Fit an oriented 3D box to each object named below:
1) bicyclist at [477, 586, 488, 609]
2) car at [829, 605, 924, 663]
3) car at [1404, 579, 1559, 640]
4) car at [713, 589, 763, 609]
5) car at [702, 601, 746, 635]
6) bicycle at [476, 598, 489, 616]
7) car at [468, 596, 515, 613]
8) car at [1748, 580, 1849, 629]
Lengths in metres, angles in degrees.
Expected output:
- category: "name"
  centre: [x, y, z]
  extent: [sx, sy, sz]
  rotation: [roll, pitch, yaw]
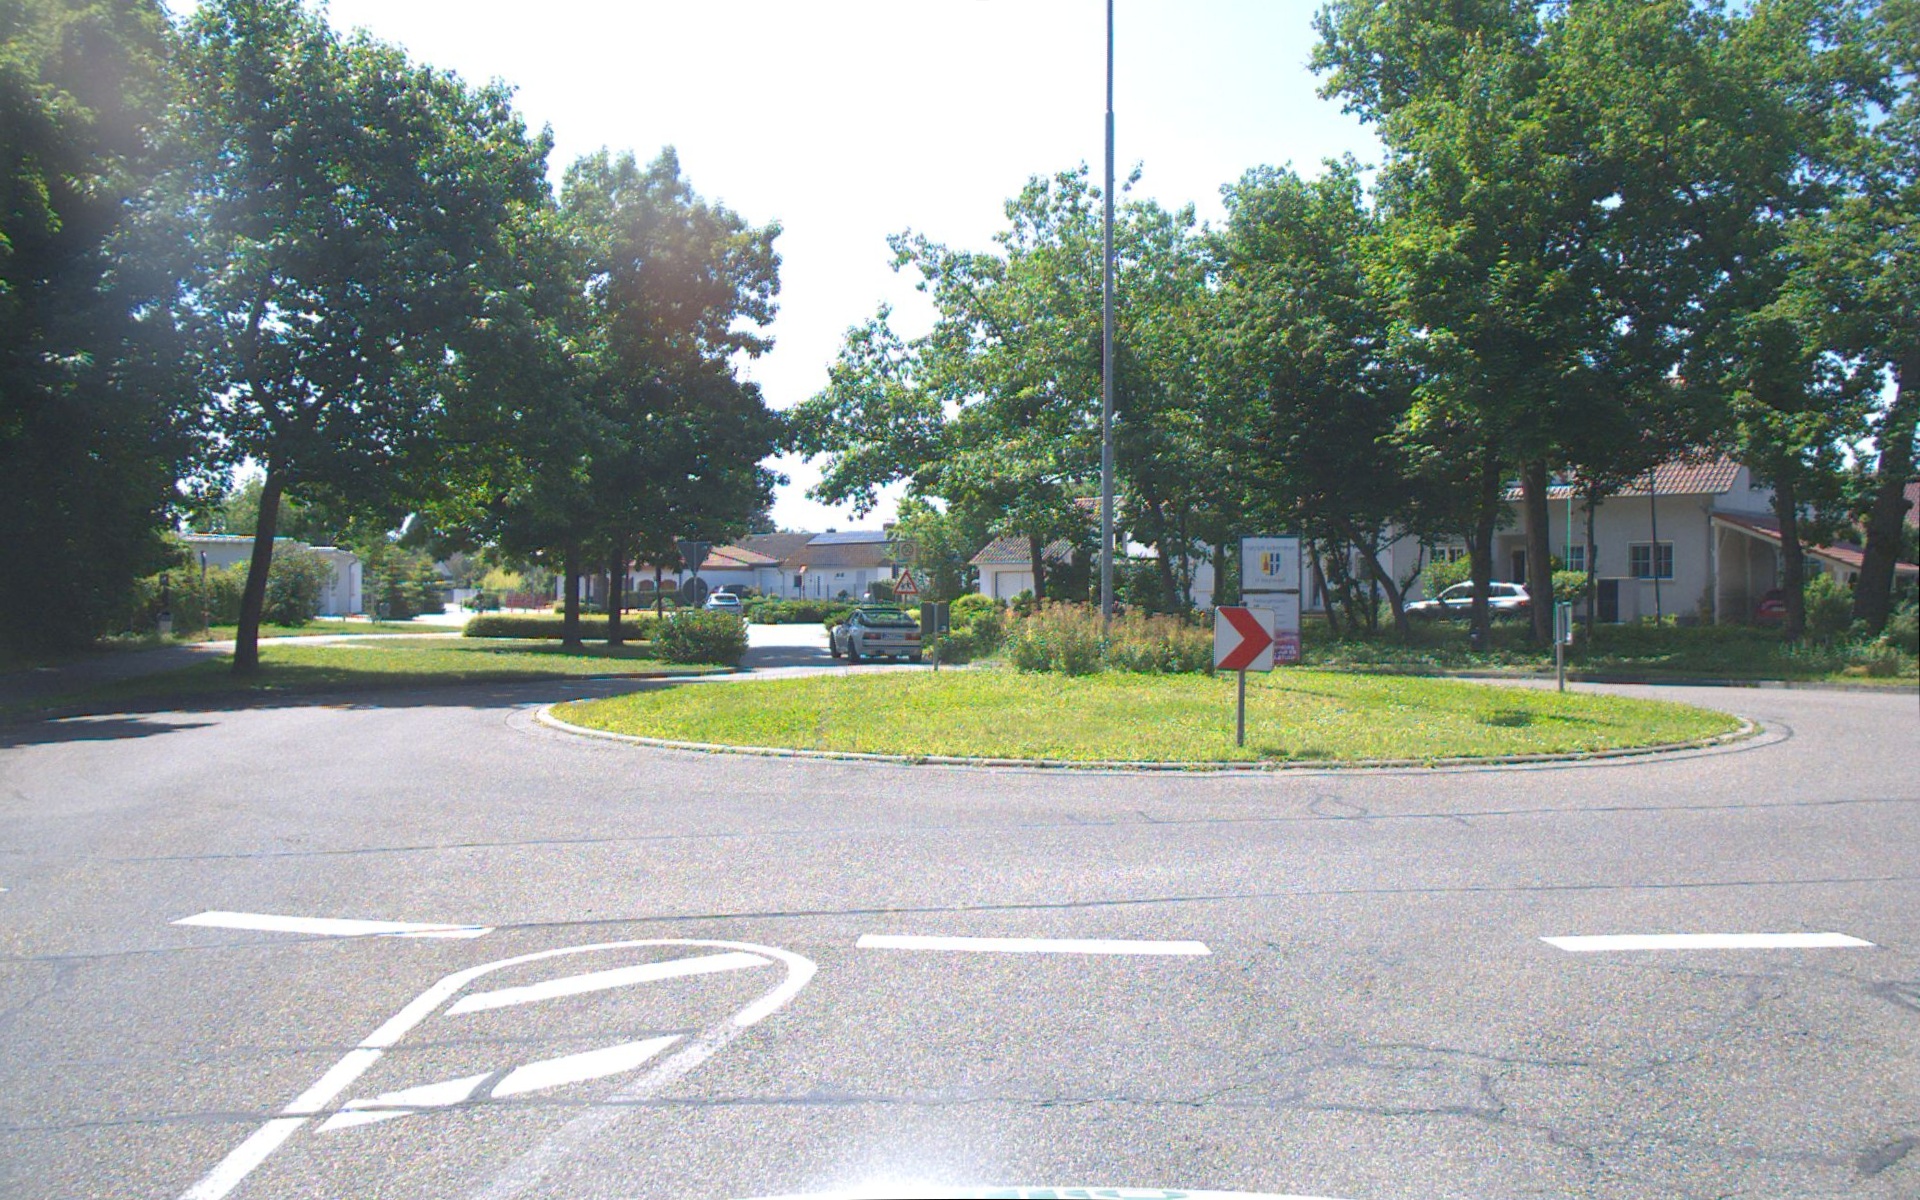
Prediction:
- category: "bicyclist"
  centre: [-25.057, -0.127, 86.797]
  extent: [0.587, 1.185, 0.646]
  rotation: [0, 0, -16]
- category: "car"
  centre: [-2.069, 0.791, 40.176]
  extent: [1.588, 1.311, 3.542]
  rotation: [0, 0, -16]
- category: "car"
  centre: [15.345, 0.273, 48.741]
  extent: [4.070, 1.735, 1.656]
  rotation: [0, 0, 42]
- category: "car"
  centre: [-17.117, -0.077, 127.432]
  extent: [1.815, 1.569, 3.827]
  rotation: [0, 0, 32]
- category: "car"
  centre: [-11.078, 0.831, 77.469]
  extent: [1.601, 1.512, 3.985]
  rotation: [-1, 1, -14]
- category: "bicycle"
  centre: [-25.024, 0.352, 86.682]
  extent: [0.587, 0.945, 1.613]
  rotation: [0, 0, -15]
- category: "car"
  centre: [-36.669, 0.321, 129.426]
  extent: [1.985, 1.311, 3.934]
  rotation: [0, 0, -44]
- category: "car"
  centre: [25.265, 0.125, 49.799]
  extent: [1.657, 1.409, 3.667]
  rotation: [0, 0, 45]
